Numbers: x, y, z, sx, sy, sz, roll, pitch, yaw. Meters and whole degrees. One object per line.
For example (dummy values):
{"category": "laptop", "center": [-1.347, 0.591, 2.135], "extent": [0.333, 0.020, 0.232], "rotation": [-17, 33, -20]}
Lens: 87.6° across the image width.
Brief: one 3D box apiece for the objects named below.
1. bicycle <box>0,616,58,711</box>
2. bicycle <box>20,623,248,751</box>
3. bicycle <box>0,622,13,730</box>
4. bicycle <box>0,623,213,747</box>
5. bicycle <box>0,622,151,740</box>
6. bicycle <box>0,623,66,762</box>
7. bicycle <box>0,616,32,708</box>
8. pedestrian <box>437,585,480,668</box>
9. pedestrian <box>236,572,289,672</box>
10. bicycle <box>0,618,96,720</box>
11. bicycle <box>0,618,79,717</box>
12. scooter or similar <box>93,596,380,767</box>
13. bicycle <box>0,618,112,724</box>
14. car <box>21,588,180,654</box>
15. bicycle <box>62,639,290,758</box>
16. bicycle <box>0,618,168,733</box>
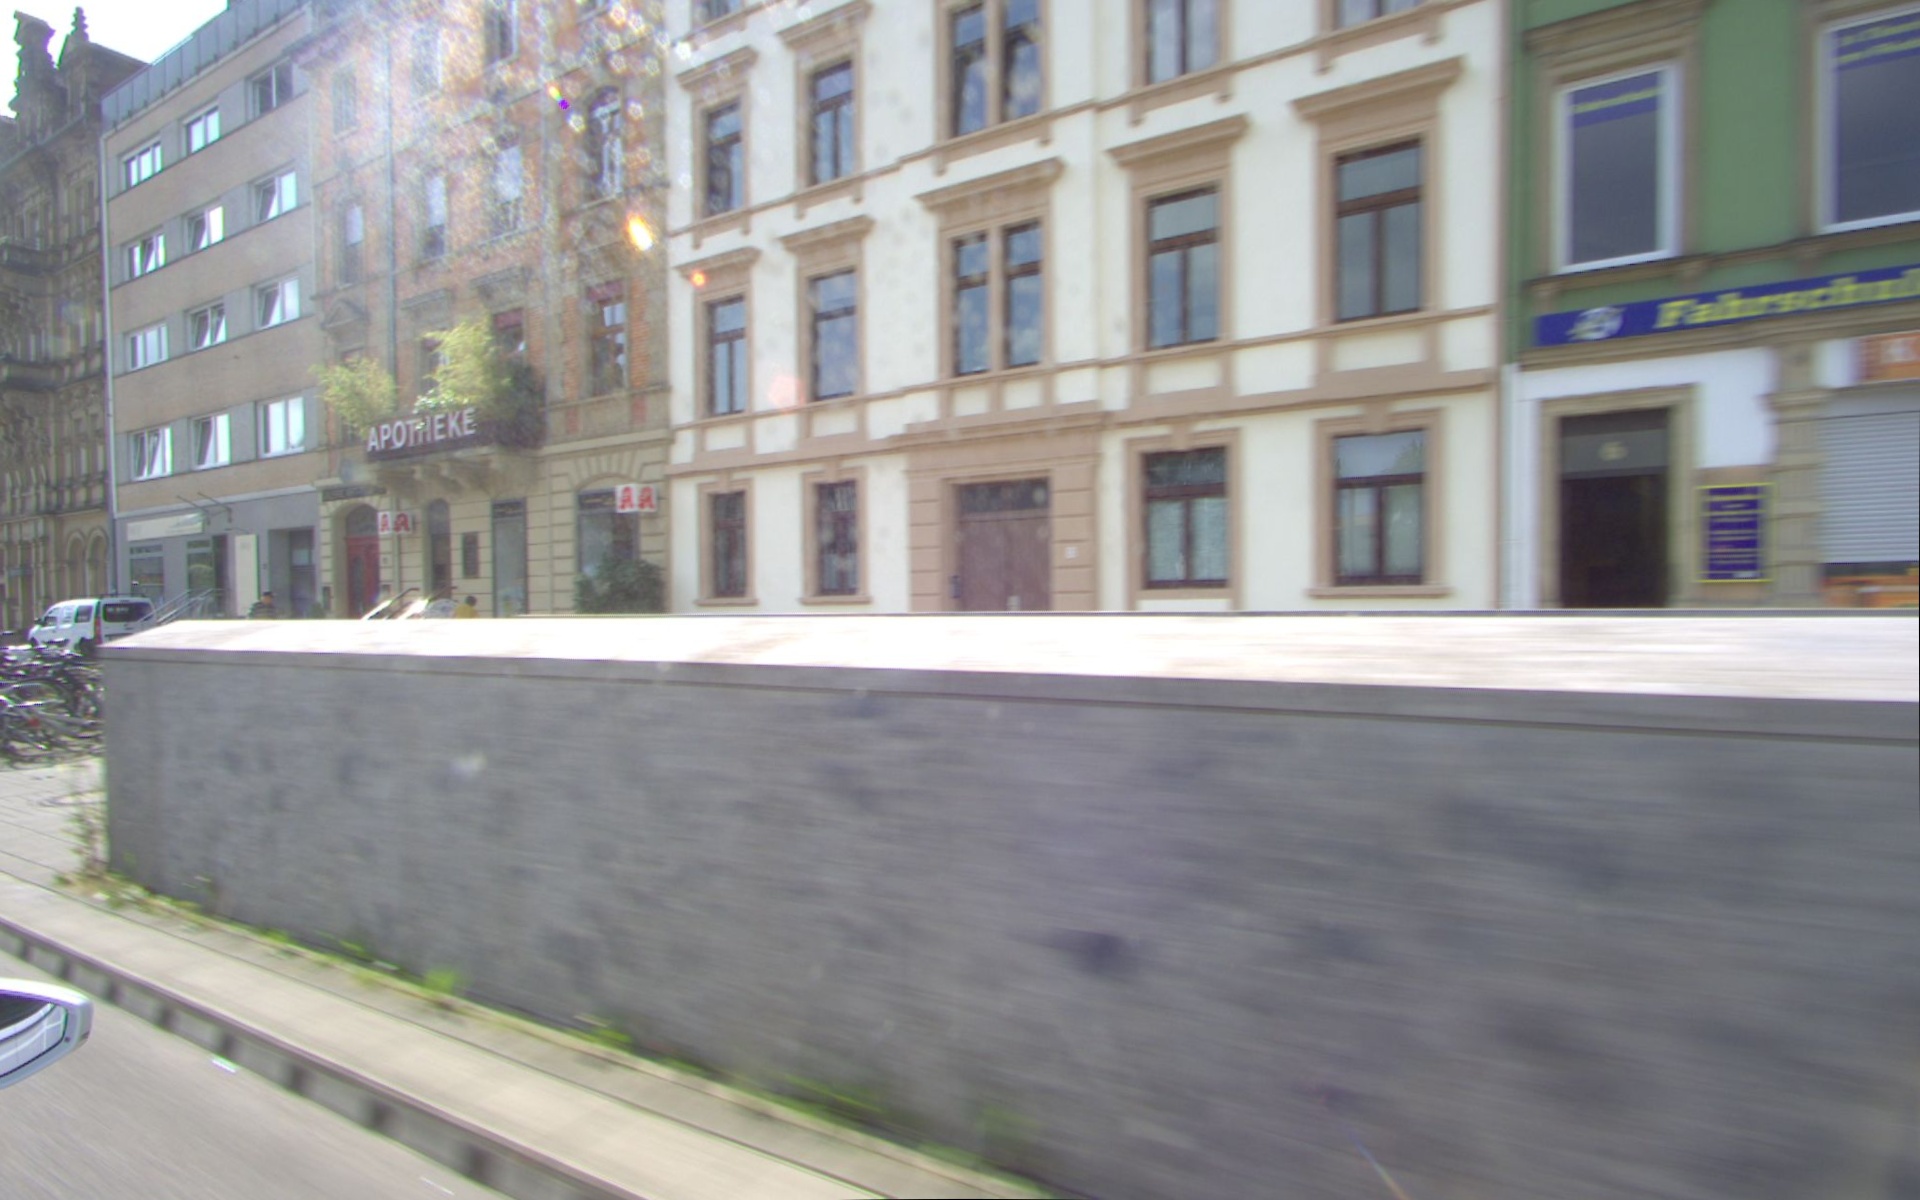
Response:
{"category": "bicycle", "center": [-13.215, 0.866, 13.257], "extent": [0.433, 1.254, 1.926], "rotation": [2, 1, 20]}
{"category": "bicycle", "center": [-9.109, 0.909, 11.141], "extent": [0.435, 1.254, 1.919], "rotation": [3, 1, 34]}
{"category": "bicycle", "center": [-11.759, 0.897, 11.051], "extent": [0.433, 1.254, 1.926], "rotation": [2, 1, 19]}
{"category": "bicycle", "center": [-9.727, 0.916, 11.411], "extent": [0.435, 1.254, 1.919], "rotation": [3, 1, 34]}
{"category": "bicycle", "center": [-10.421, 0.899, 11.345], "extent": [0.435, 1.254, 1.919], "rotation": [3, 1, 34]}
{"category": "bicycle", "center": [-9.740, 0.874, 10.027], "extent": [1.898, 1.254, 0.440], "rotation": [2, 2, 24]}
{"category": "bicycle", "center": [-13.773, 0.871, 13.412], "extent": [0.433, 1.254, 1.980], "rotation": [2, 1, 20]}
{"category": "pedestrian", "center": [-10.615, 0.551, 21.197], "extent": [0.603, 1.721, 0.577], "rotation": [2, 2, 32]}
{"category": "pedestrian", "center": [-15.272, 0.467, 21.926], "extent": [0.775, 2.128, 0.719], "rotation": [2, 2, 32]}
{"category": "bicycle", "center": [-12.243, 0.876, 12.739], "extent": [0.433, 1.254, 1.925], "rotation": [2, 1, 21]}
{"category": "bicycle", "center": [-12.742, 0.889, 13.033], "extent": [0.433, 1.254, 1.925], "rotation": [2, 1, 21]}
{"category": "scooter or similar", "center": [-7.406, 0.760, 10.386], "extent": [0.689, 1.566, 2.316], "rotation": [3, 2, 37]}
{"category": "bicycle", "center": [-11.773, 0.877, 12.433], "extent": [0.433, 1.254, 1.925], "rotation": [2, 1, 21]}
{"category": "car", "center": [-26.053, 0.647, 30.334], "extent": [4.677, 1.886, 1.992], "rotation": [-1, 0, 27]}
{"category": "bicycle", "center": [-8.481, 1.024, 10.926], "extent": [0.435, 1.118, 1.919], "rotation": [2, 1, 34]}
{"category": "bicycle", "center": [-10.855, 0.875, 12.225], "extent": [0.433, 1.254, 1.926], "rotation": [2, 1, 19]}
